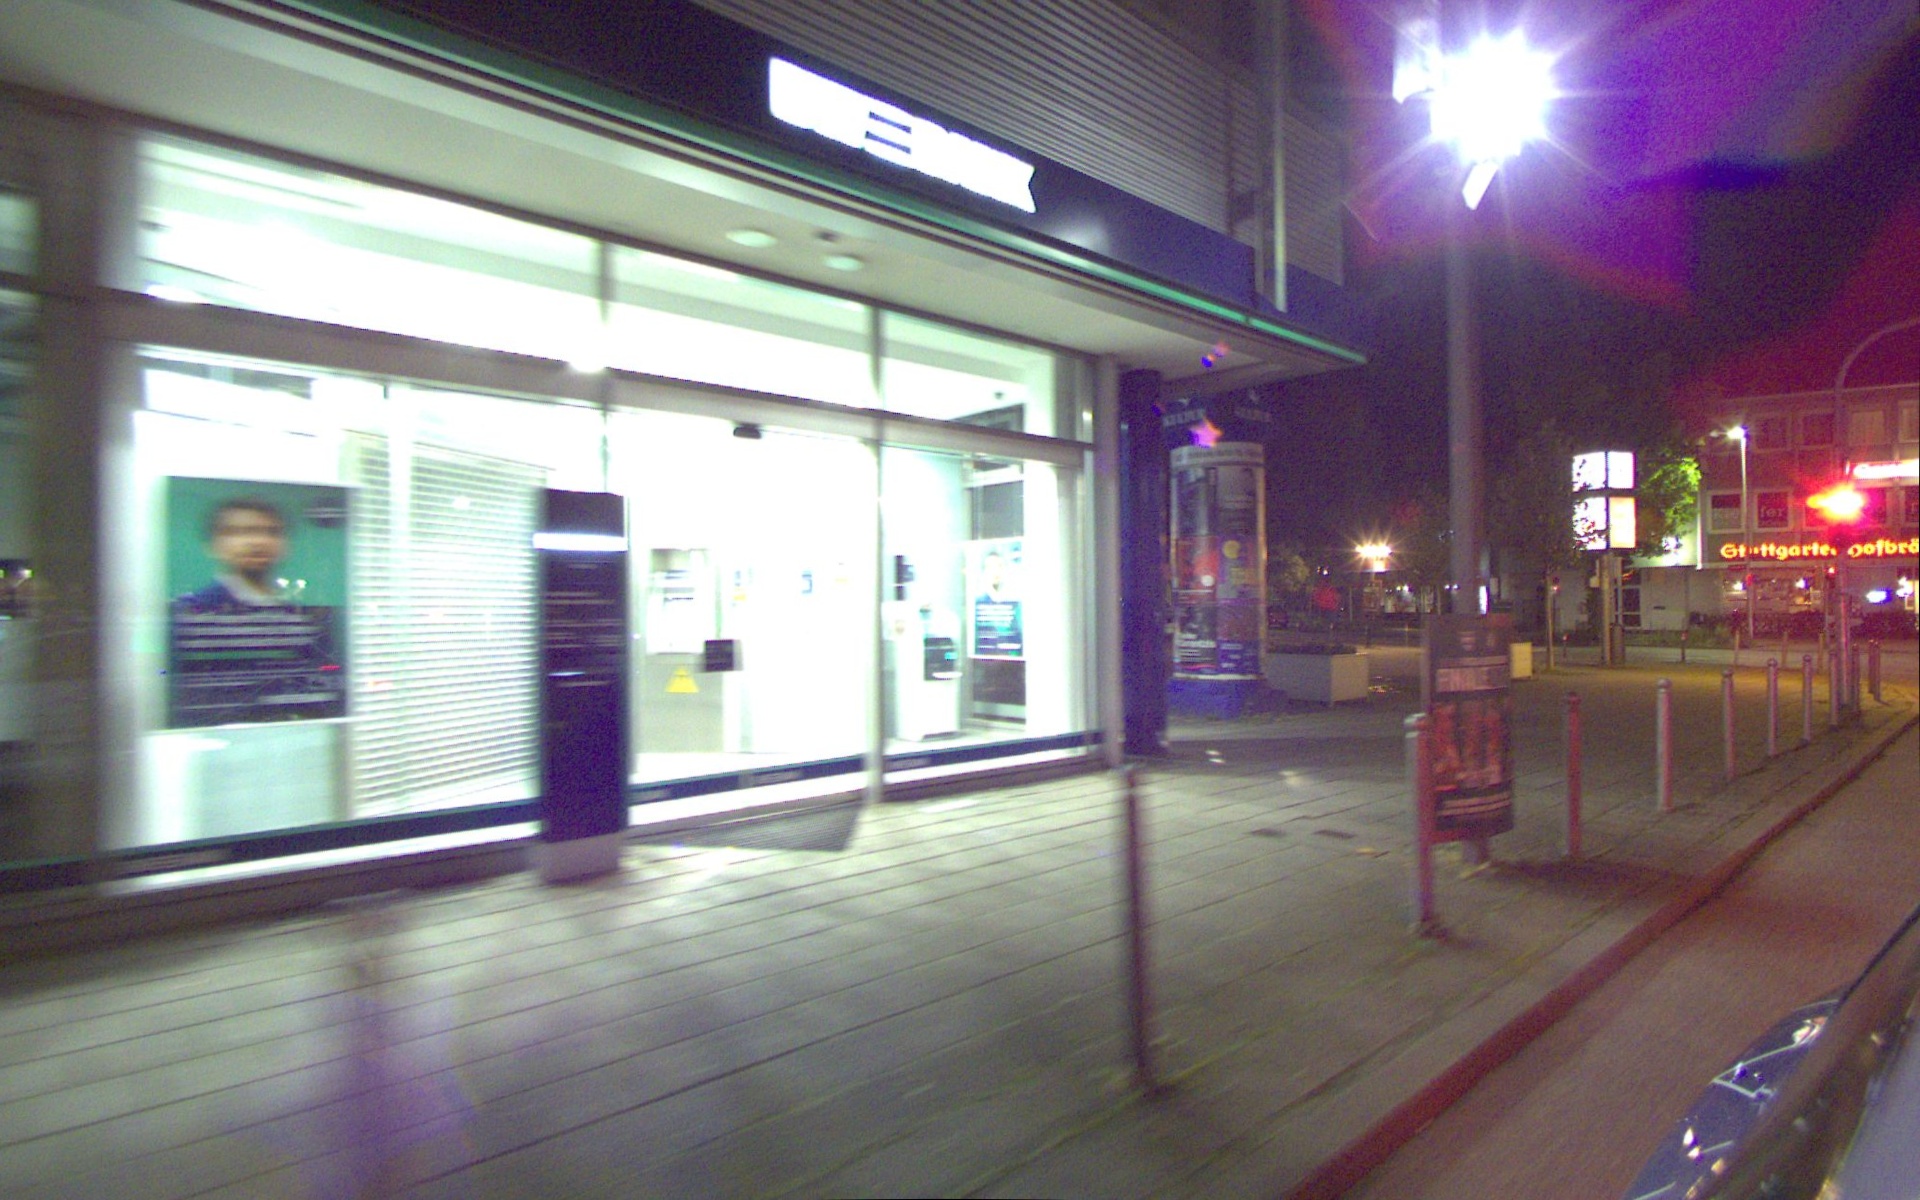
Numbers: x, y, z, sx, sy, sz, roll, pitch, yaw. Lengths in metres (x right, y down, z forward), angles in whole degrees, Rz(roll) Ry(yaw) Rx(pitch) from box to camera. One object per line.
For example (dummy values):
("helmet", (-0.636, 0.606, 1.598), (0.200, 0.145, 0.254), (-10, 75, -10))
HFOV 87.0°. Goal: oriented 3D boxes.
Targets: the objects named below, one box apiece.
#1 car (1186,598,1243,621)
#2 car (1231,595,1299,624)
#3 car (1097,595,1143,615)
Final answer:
("car", (16.842, 0.631, 67.195), (1.855, 1.471, 3.903), (1, 0, -17))
("car", (18.860, 0.572, 62.680), (1.836, 1.674, 3.869), (2, 0, -26))
("car", (12.432, 0.406, 78.608), (1.855, 1.471, 3.903), (1, 0, -20))
